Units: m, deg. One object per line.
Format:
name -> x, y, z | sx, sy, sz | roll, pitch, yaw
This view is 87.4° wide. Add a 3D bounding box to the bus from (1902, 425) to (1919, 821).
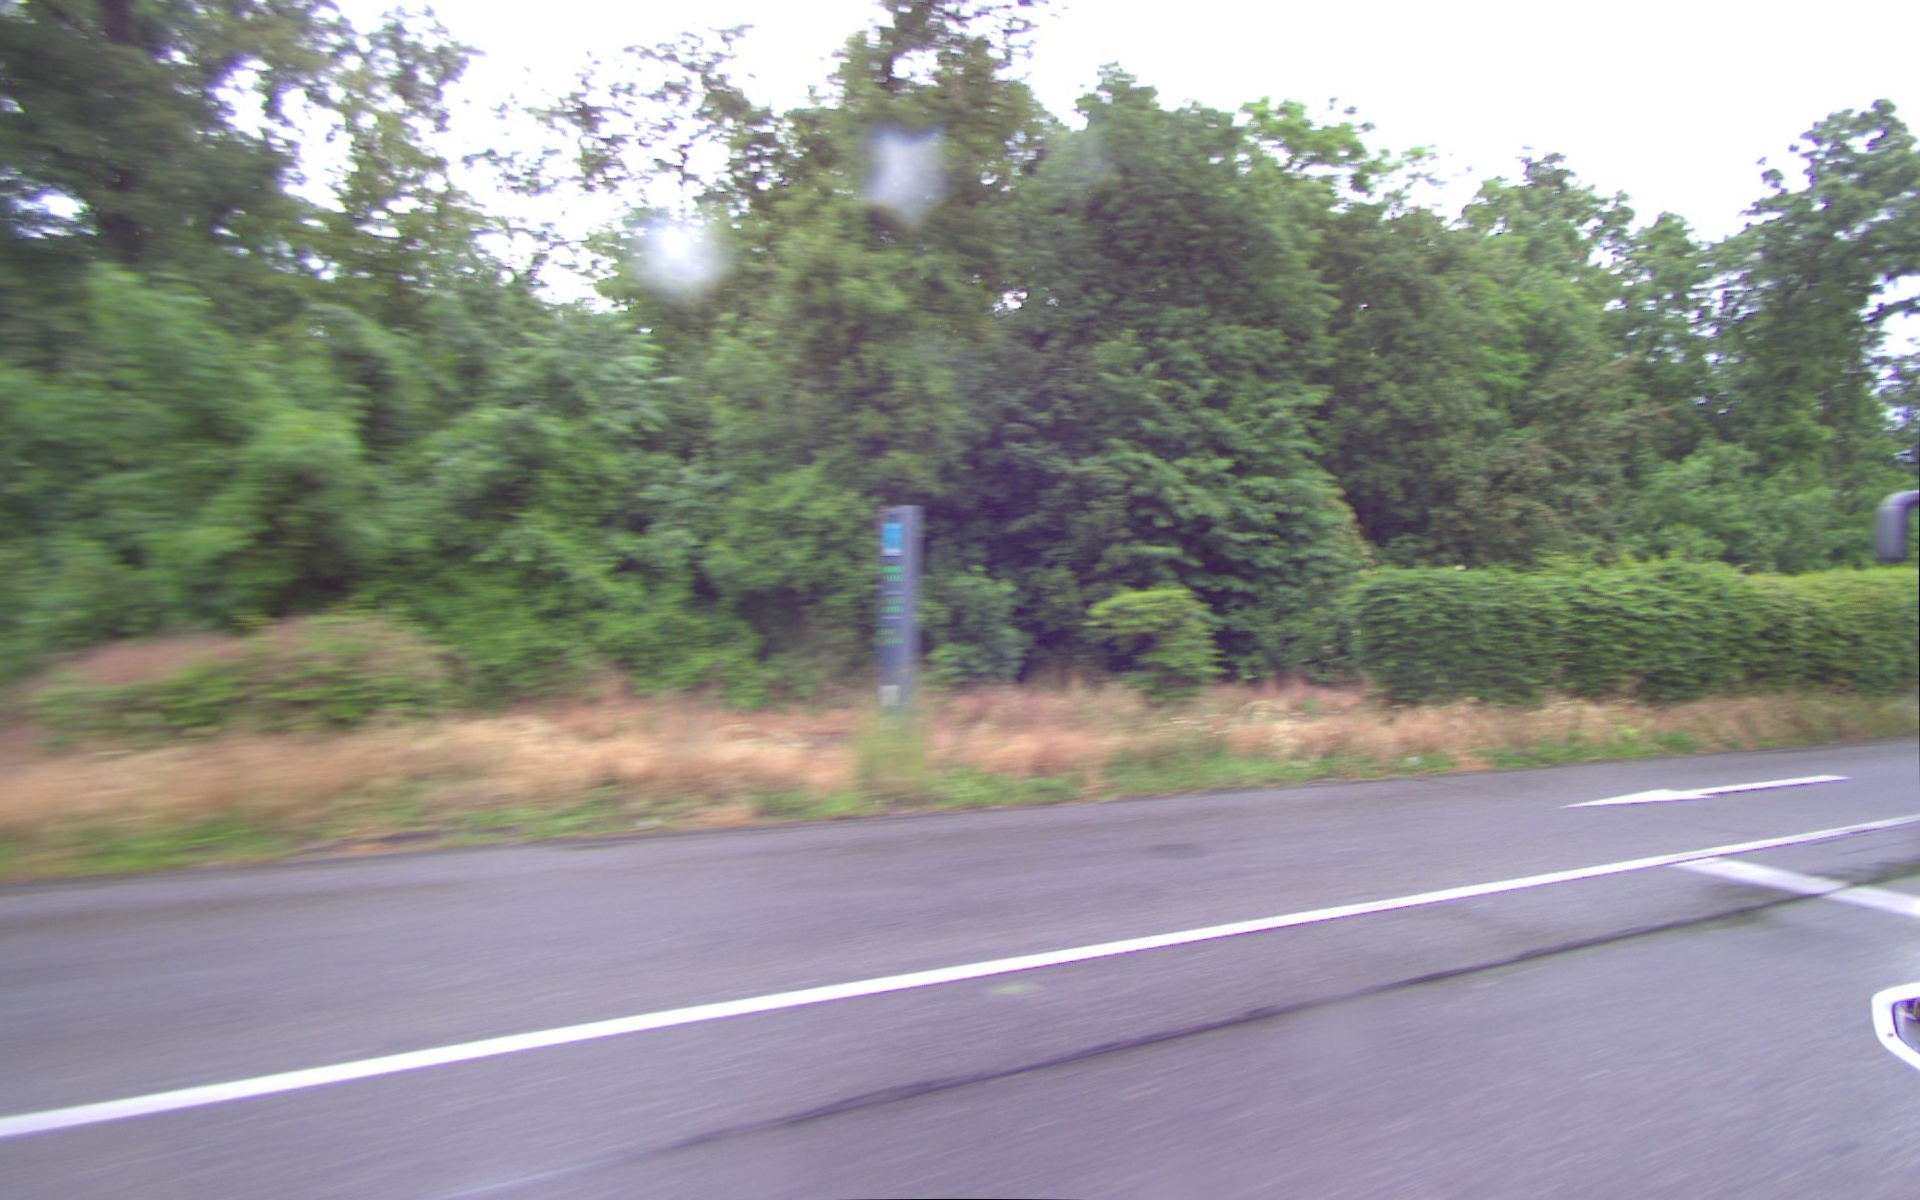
bus -> 12.068, 0.316, 8.912 | 9.115, 3.085, 2.632 | 2, 0, -28
